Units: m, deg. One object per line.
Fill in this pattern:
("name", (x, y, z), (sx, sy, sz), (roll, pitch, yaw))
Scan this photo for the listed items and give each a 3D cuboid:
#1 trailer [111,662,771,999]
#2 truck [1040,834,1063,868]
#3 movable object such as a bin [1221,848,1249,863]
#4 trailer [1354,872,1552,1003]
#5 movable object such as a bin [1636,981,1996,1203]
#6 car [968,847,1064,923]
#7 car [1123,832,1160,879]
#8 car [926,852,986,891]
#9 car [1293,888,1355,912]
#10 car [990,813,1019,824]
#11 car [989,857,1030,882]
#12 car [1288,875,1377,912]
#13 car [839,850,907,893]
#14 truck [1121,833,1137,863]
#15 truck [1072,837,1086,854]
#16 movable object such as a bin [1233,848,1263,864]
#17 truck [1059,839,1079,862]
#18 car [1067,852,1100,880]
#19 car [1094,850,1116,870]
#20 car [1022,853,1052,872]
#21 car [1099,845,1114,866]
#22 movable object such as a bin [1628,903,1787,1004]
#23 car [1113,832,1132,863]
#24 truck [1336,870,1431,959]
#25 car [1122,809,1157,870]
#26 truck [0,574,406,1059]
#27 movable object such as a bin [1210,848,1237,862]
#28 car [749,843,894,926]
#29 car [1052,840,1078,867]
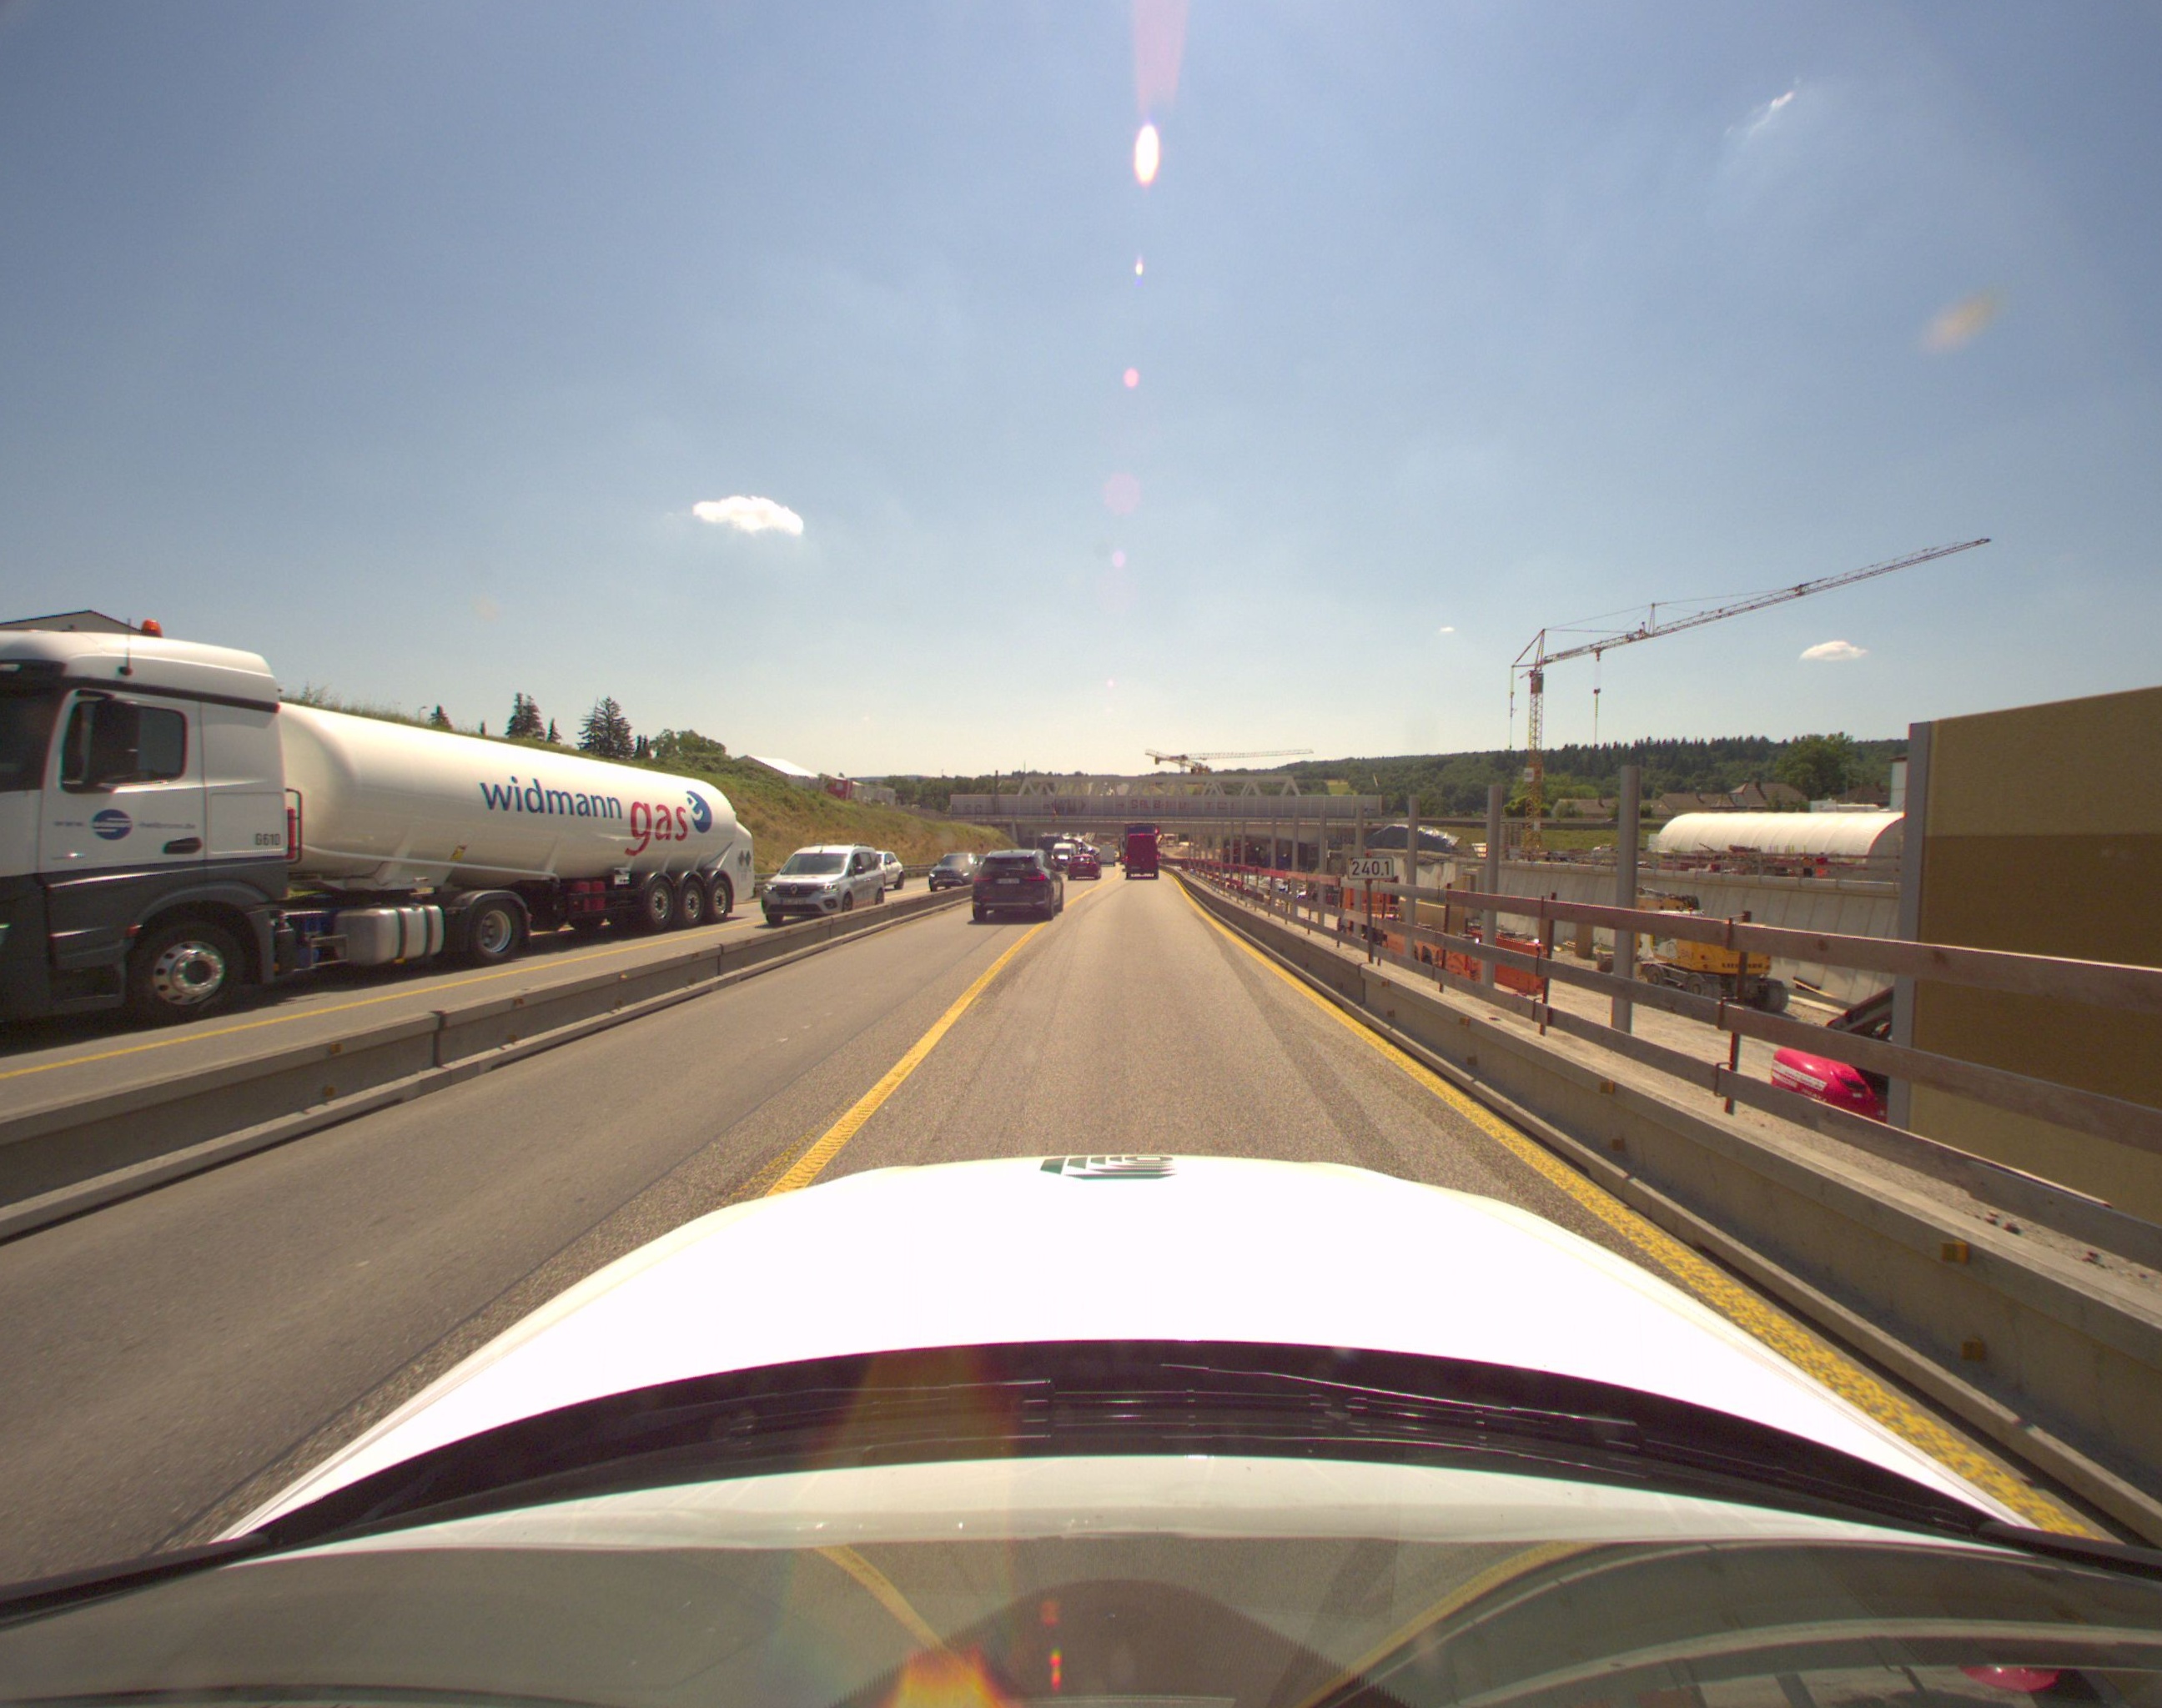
("trailer", (-9.508, -0.309, 15.167), (2.580, 3.801, 11.922), (0, 0, 2))
("truck", (-3.444, -0.364, 96.734), (2.348, 4.015, 4.004), (0, 0, 3))
("movable object such as a bin", (28.834, 0.222, 152.723), (5.119, 2.807, 2.147), (0, 0, 7))
("trailer", (14.324, 2.857, 33.095), (2.747, 3.886, 13.060), (0, 0, 3))
("movable object such as a bin", (12.469, 3.878, 14.417), (2.159, 2.431, 4.825), (2, 0, 3))
("car", (-1.469, 0.656, 19.983), (1.873, 1.618, 4.500), (-1, 0, 1))
("car", (3.607, 0.058, 49.470), (1.981, 2.690, 4.625), (-1, 0, 1))
("car", (-5.512, 0.718, 36.464), (1.783, 1.611, 4.736), (0, 0, 2))
("car", (20.713, 3.902, 69.456), (4.708, 1.773, 2.002), (1, 2, 3))
("car", (-13.189, -6.061, 141.055), (4.520, 1.783, 1.968), (0, 0, 15))
("car", (-4.468, 0.955, 51.447), (1.953, 1.464, 4.943), (0, 0, 2))
("car", (19.360, 3.017, 62.876), (6.084, 2.584, 2.523), (1, 2, -8))
("car", (-9.171, 0.732, 36.261), (1.784, 1.762, 4.538), (-1, 0, 1))
("truck", (9.027, -1.126, 153.018), (2.822, 5.398, 12.926), (0, 0, 4))
("truck", (-0.487, -1.912, 189.833), (2.824, 3.852, 12.918), (0, 0, 2))
("movable object such as a bin", (29.810, 0.288, 145.773), (5.119, 2.807, 2.147), (0, 0, 7))
("truck", (-1.924, -0.606, 140.997), (2.824, 3.852, 12.918), (0, 0, 2))
("car", (0.183, 0.682, 48.233), (1.769, 1.517, 4.208), (-1, 0, 2))
("car", (2.098, 0.516, 70.930), (1.833, 1.654, 4.166), (-1, 1, 1))
("car", (-3.556, 0.689, 66.373), (1.792, 1.447, 4.643), (0, 0, 4))
("car", (3.068, 0.117, 97.439), (1.769, 2.441, 4.207), (-1, 0, 1))
("movable object such as a bin", (22.682, 3.488, 29.806), (2.270, 3.024, 4.825), (2, 0, 3))
("car", (5.759, -0.909, 113.290), (2.441, 4.161, 6.862), (-1, 0, 1))
("truck", (14.689, 2.803, 39.991), (2.747, 3.886, 5.887), (0, 0, 3))
("car", (5.176, -1.260, 73.736), (2.611, 5.032, 10.400), (-1, 0, 2))
("truck", (-9.700, -0.302, 8.196), (2.581, 3.801, 3.768), (0, 0, 1))
("movable object such as a bin", (27.577, 0.208, 157.879), (5.119, 2.807, 2.147), (0, 0, 7))
("car", (-6.065, 0.641, 19.658), (1.872, 1.745, 4.485), (-1, 0, 2))
("car", (-1.555, -0.047, 81.886), (1.984, 2.606, 7.019), (0, 0, 4))
